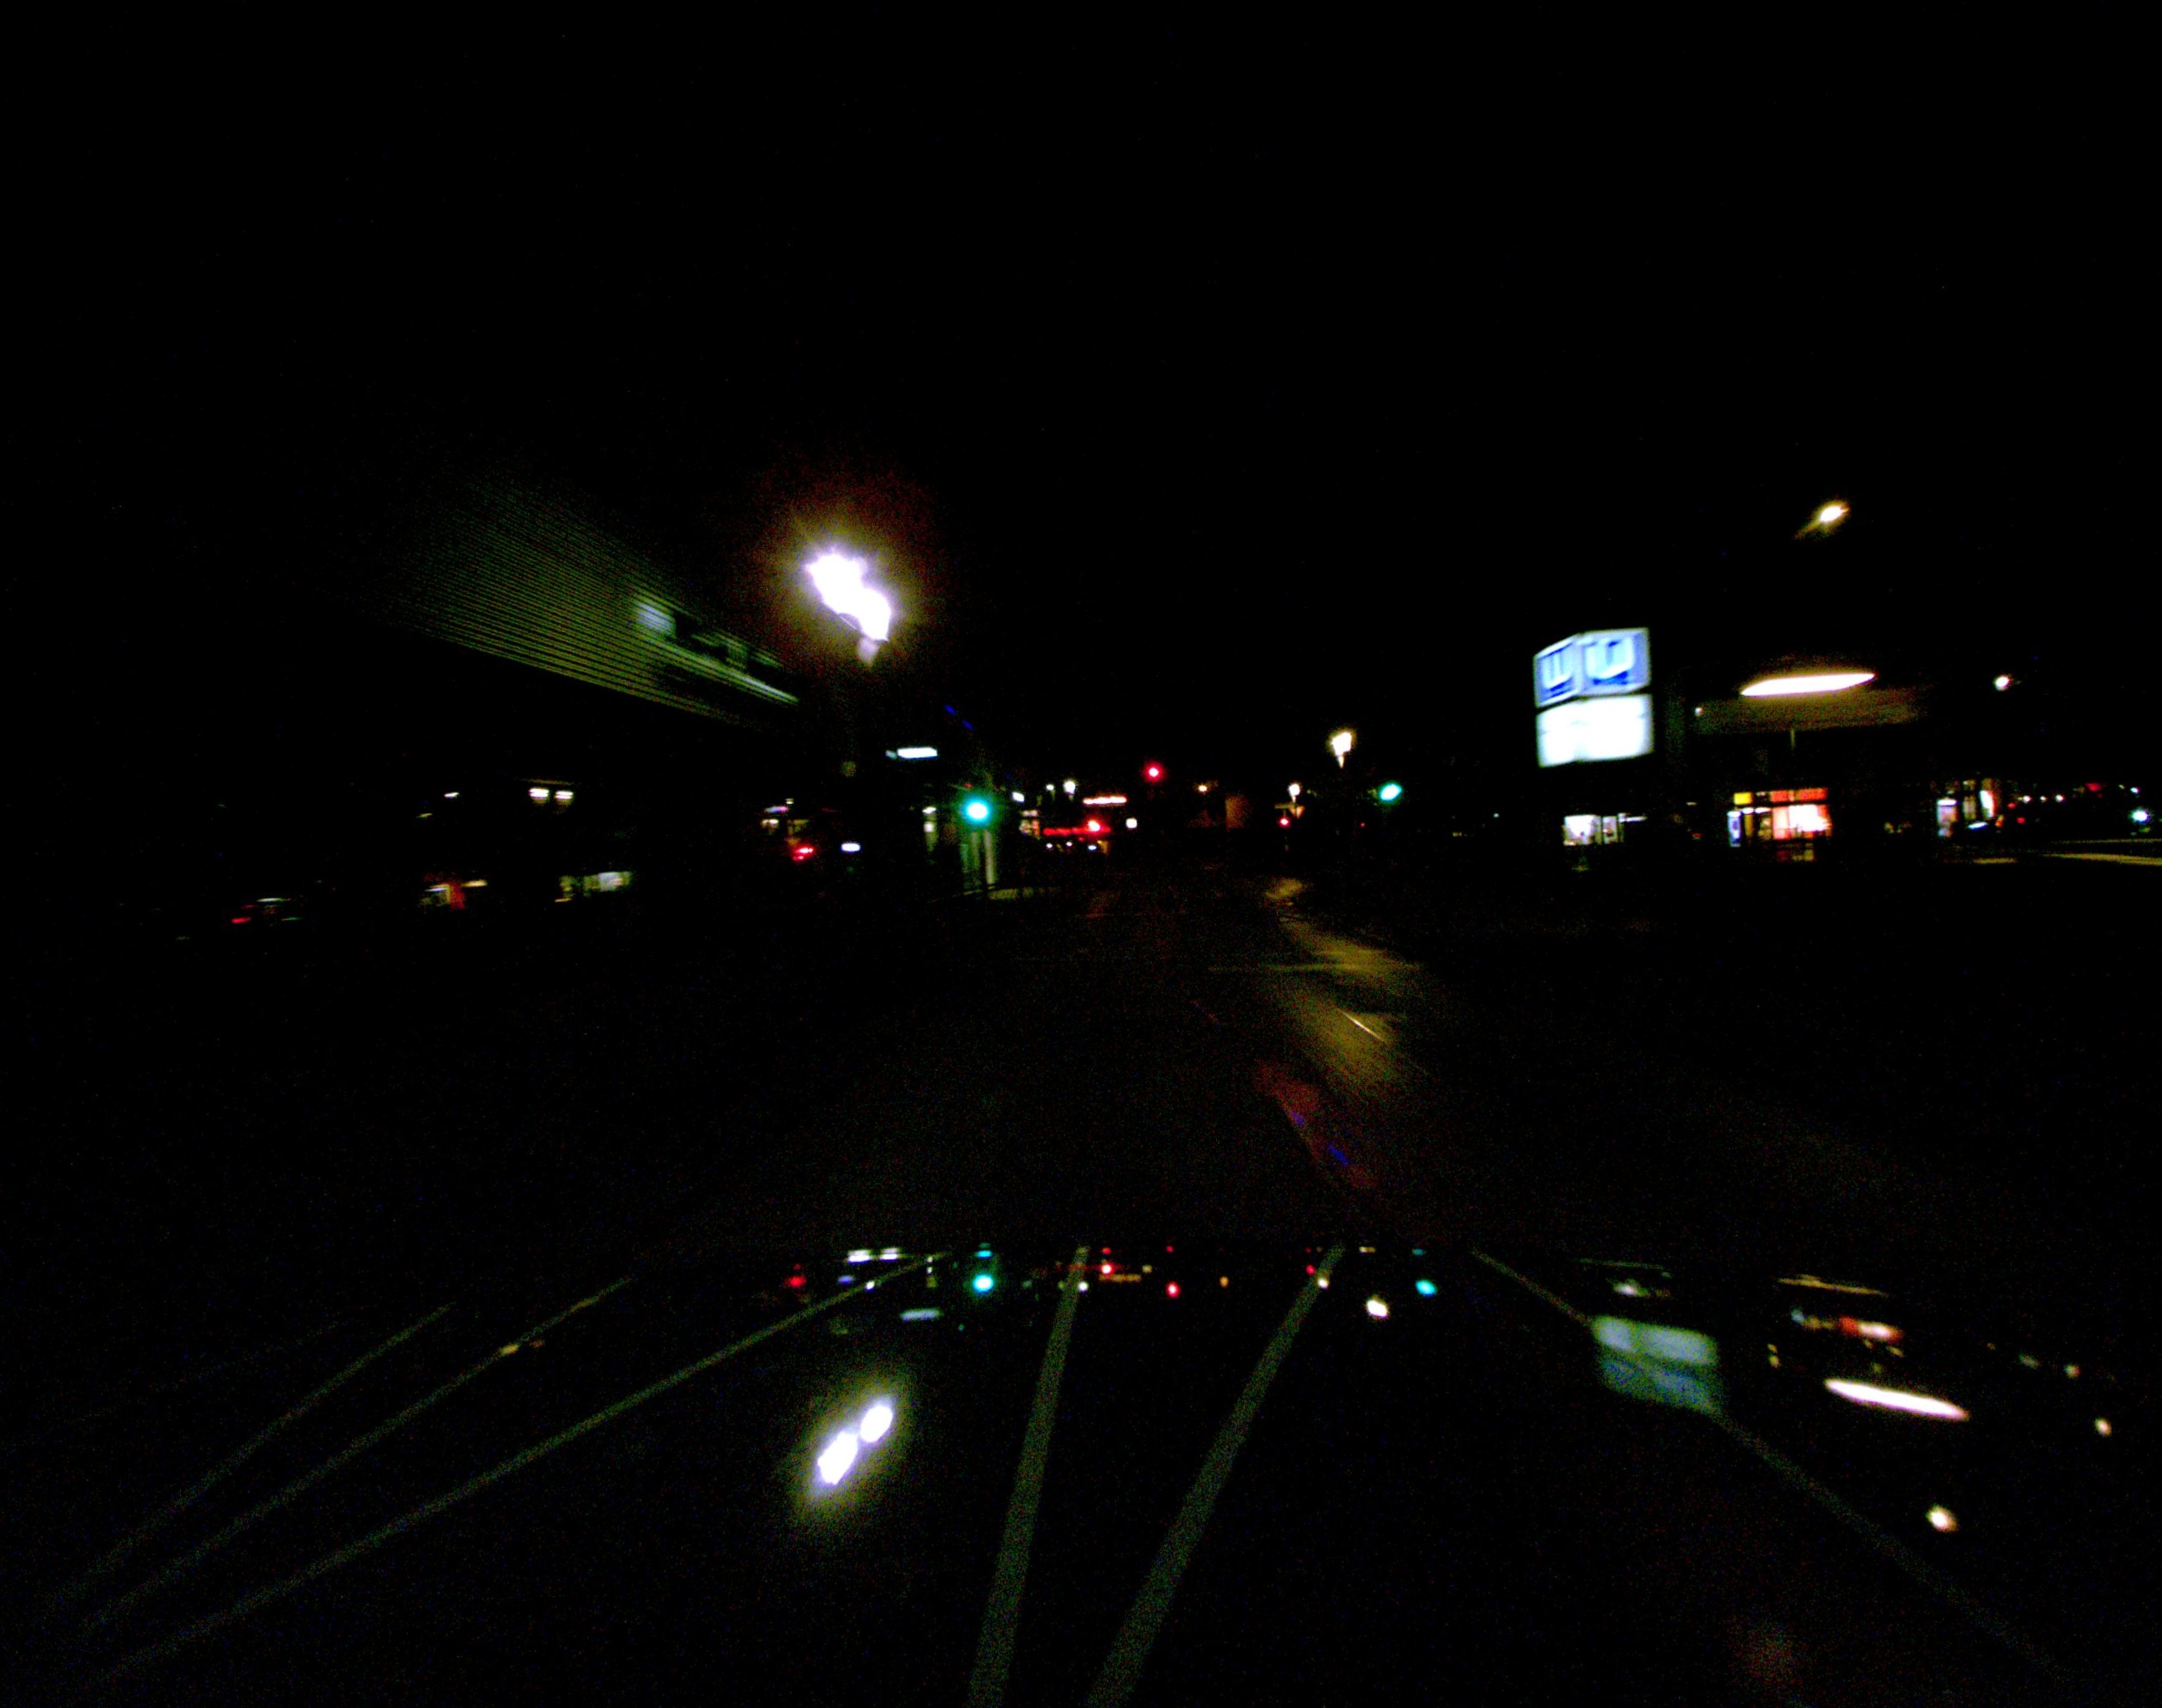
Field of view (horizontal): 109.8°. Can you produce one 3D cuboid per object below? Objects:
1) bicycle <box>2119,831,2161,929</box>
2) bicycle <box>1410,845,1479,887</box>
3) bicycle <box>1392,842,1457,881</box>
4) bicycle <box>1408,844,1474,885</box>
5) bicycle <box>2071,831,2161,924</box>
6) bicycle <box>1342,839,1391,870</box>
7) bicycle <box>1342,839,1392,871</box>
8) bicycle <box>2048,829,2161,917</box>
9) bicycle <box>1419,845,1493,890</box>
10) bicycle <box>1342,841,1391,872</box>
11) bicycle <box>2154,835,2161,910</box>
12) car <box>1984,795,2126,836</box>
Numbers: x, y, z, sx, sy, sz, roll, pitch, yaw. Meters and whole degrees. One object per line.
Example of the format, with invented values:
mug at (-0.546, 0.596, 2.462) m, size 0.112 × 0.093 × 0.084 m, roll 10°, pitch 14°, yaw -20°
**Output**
bicycle at (13.313, 0.284, 8.590) m, size 0.762 × 1.155 × 1.744 m, roll -2°, pitch 0°, yaw -26°
bicycle at (10.448, 0.331, 21.897) m, size 1.619 × 1.099 × 0.670 m, roll -3°, pitch 2°, yaw 6°
bicycle at (11.129, 0.227, 24.658) m, size 1.773 × 1.157 × 0.670 m, roll -3°, pitch 1°, yaw 6°
bicycle at (10.699, 0.305, 22.627) m, size 1.619 × 1.099 × 0.670 m, roll -3°, pitch 2°, yaw 6°
bicycle at (13.719, 0.281, 9.371) m, size 0.545 × 1.148 × 1.744 m, roll -2°, pitch 0°, yaw -26°
bicycle at (12.631, 0.019, 33.624) m, size 1.837 × 1.151 × 0.787 m, roll -5°, pitch 1°, yaw 11°
bicycle at (11.778, 0.030, 31.345) m, size 1.738 × 1.160 × 0.787 m, roll -5°, pitch 0°, yaw 11°
bicycle at (14.529, 0.252, 10.234) m, size 0.609 × 1.158 × 1.744 m, roll -2°, pitch 0°, yaw -26°
bicycle at (10.152, 0.368, 20.616) m, size 1.619 × 1.099 × 0.670 m, roll -3°, pitch 2°, yaw 6°
bicycle at (12.099, 0.108, 32.237) m, size 1.738 × 1.151 × 0.787 m, roll -5°, pitch 1°, yaw 11°
bicycle at (15.929, 0.238, 10.174) m, size 0.610 × 1.063 × 1.743 m, roll -2°, pitch 0°, yaw -30°
car at (53.614, -2.088, 41.938) m, size 4.408 × 1.925 × 1.963 m, roll -2°, pitch 0°, yaw 21°
